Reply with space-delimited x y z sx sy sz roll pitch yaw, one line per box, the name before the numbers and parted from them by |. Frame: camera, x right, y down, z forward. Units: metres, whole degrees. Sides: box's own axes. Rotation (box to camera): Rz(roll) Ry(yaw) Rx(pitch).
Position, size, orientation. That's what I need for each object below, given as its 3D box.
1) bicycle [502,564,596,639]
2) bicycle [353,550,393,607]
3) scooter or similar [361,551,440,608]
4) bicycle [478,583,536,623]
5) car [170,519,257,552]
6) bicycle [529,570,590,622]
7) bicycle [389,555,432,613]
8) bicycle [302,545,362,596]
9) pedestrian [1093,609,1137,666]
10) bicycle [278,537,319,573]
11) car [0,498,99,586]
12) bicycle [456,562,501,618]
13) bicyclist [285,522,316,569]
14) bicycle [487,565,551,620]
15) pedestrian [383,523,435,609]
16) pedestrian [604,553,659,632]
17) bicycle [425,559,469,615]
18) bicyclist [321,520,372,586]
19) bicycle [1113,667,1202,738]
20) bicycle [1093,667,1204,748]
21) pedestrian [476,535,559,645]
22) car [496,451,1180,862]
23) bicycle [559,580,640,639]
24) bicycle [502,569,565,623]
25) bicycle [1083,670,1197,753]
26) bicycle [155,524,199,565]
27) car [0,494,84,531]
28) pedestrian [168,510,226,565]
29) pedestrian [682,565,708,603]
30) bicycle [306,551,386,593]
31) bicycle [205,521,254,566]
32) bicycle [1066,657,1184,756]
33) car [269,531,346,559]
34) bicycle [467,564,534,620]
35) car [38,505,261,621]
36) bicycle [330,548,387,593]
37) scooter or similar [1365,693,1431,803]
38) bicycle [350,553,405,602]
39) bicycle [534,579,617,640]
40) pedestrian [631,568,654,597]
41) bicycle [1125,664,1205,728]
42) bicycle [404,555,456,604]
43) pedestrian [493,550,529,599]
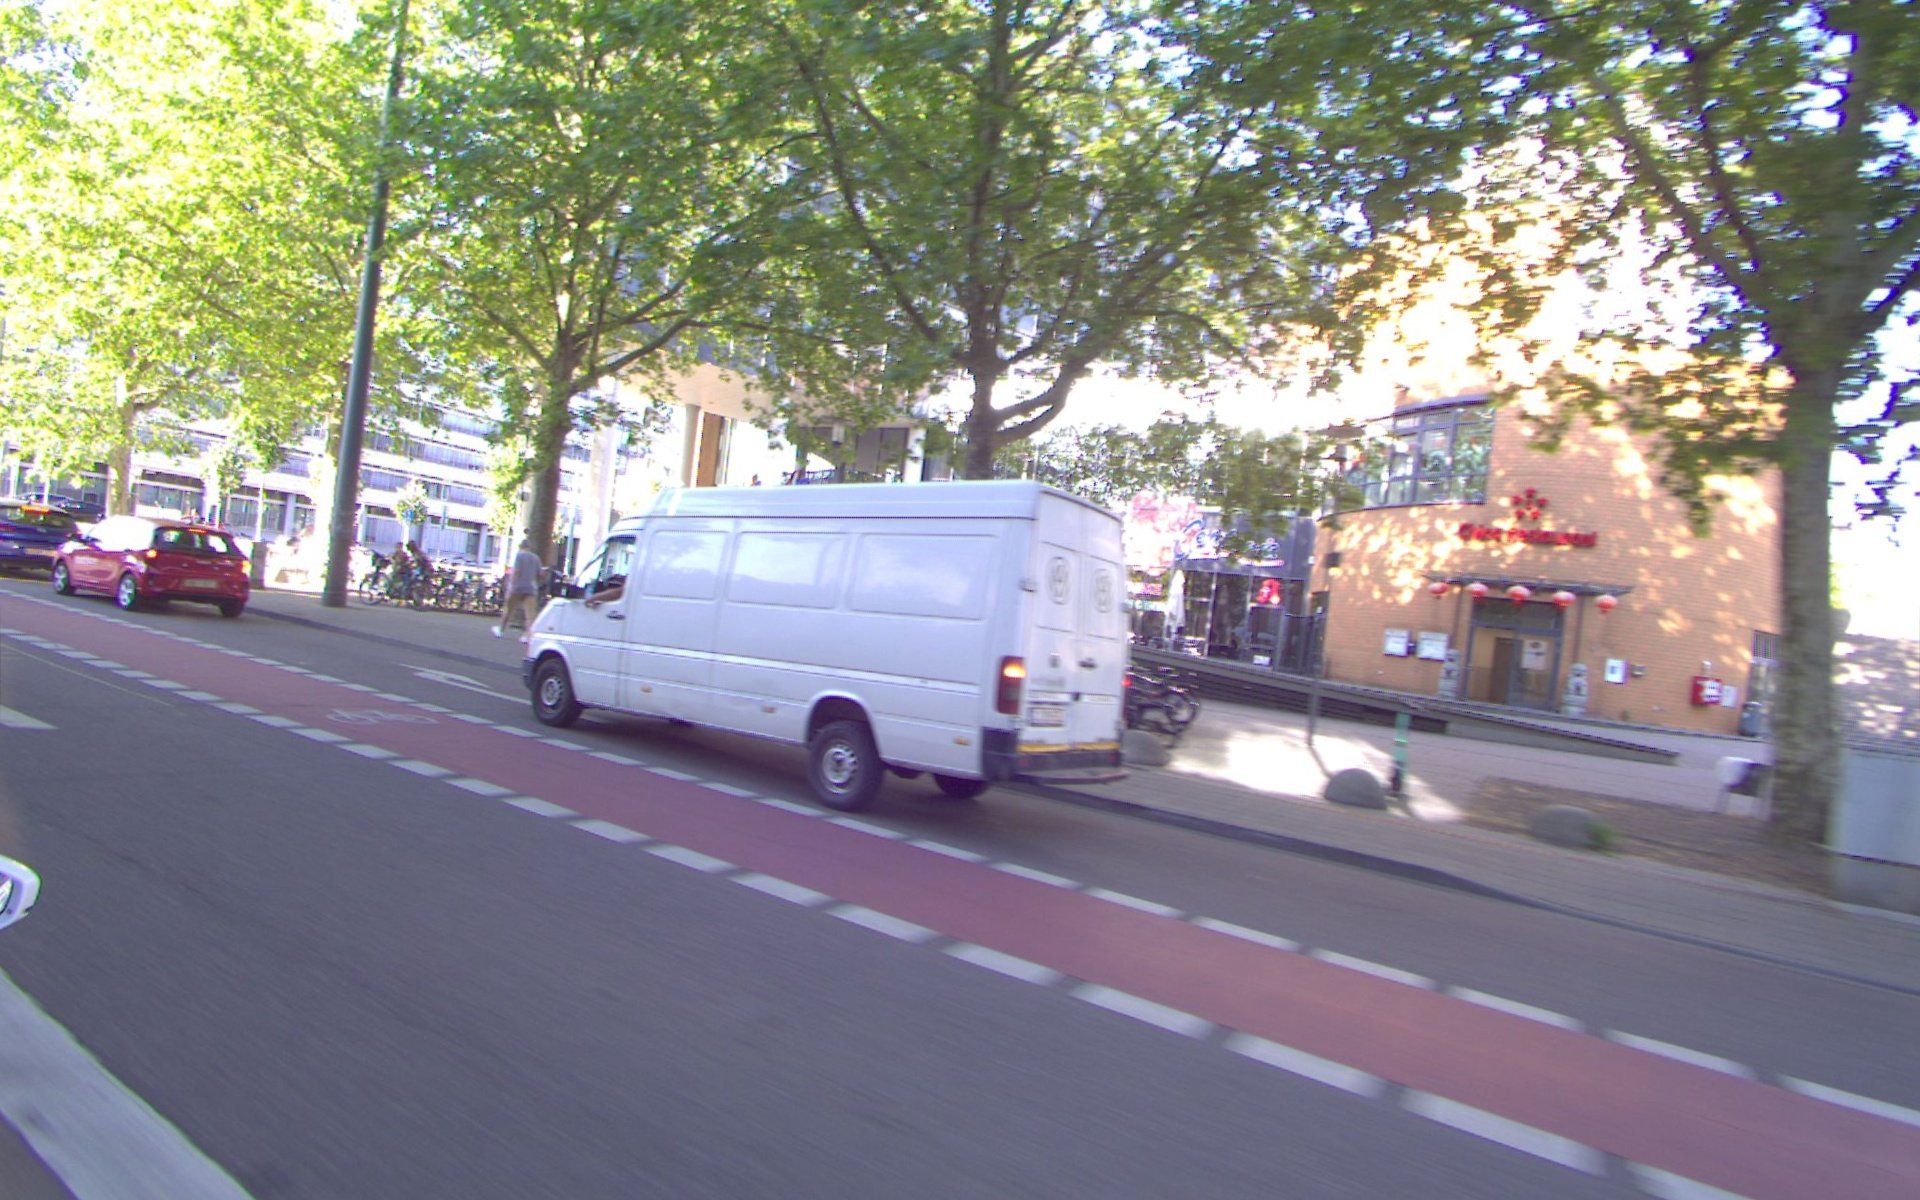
bicycle | -8.171 0.027 19.982 1.844 1.280 0.596 7 1 29
bicycle | -13.132 -0.491 22.469 0.591 1.130 1.810 6 0 -33
scooter or similar | -13.336 -0.475 24.014 0.899 1.154 1.260 5 -4 15
bicycle | -10.259 0.070 22.787 1.101 0.770 0.396 7 0 -34
car | -49.783 -4.288 67.200 1.767 1.579 4.243 7 0 34
bicycle | -10.344 -0.101 25.955 1.449 1.174 0.422 7 1 20
bicycle | -12.284 -0.374 22.472 0.591 1.130 1.932 6 0 -33
bicycle | -15.491 -0.729 24.810 1.547 1.070 0.628 7 0 35
pedestrian | 5.420 1.315 35.188 0.991 1.867 0.843 6 1 -36
bicycle | -24.334 -1.661 36.987 1.750 1.140 0.566 7 0 35
car | -19.210 -1.288 19.931 4.143 1.482 1.768 7 0 28
bicycle | -11.103 -0.244 23.177 0.602 1.130 1.810 6 0 -33
bicyclist | -24.211 -2.005 36.920 0.809 1.636 0.562 7 1 35
bicycle | -10.803 -0.177 24.639 1.449 1.174 0.422 7 1 20
pedestrian | -12.311 -0.752 22.486 0.801 1.808 0.651 6 1 -35
pedestrian | -7.956 -0.176 24.369 0.758 1.779 0.818 7 1 34
bicycle | -11.662 -0.302 22.844 0.591 1.130 1.810 6 0 -33
bicyclist | -17.801 -1.362 29.186 0.836 1.790 0.752 7 1 19
bicycle | 3.196 1.641 16.324 1.259 0.958 0.407 7 1 29
bicycle | 2.758 1.565 14.785 1.452 0.958 0.407 7 1 29
pedestrian | -7.796 -0.169 17.745 0.795 1.808 0.873 7 1 28
car | -1.505 0.204 9.445 6.459 2.755 1.995 6 -2 36
bicycle | -7.600 0.191 21.199 1.626 1.044 0.596 7 0 29
bicycle | -10.642 -0.102 25.096 1.449 1.174 0.422 7 1 20
bicycle | 2.565 1.570 14.364 1.452 0.958 0.407 7 1 29
bicycle | -25.222 -1.784 32.402 1.451 1.159 0.451 7 1 27
car | -55.329 -5.241 60.040 1.767 1.621 4.243 7 0 34
pedestrian | -29.031 -2.356 38.285 1.023 1.843 1.213 6 -2 23
pedestrian | -12.471 -0.749 47.399 0.694 1.661 0.775 7 1 24
bicycle | -17.808 -0.818 29.177 2.143 0.945 0.668 7 0 18
bicycle | -24.553 -1.896 33.785 1.854 1.302 0.451 7 1 27
bicycle | 2.285 1.456 13.964 1.452 1.133 0.407 7 1 29
car | -46.923 -3.927 72.392 1.767 1.409 4.242 7 -1 36
bicycle | -11.043 -0.197 24.162 1.449 1.174 0.479 7 1 20
car | -13.647 -0.628 16.917 3.559 1.481 1.562 7 -1 29
bicycle | -16.151 -0.799 27.000 1.544 1.038 0.461 7 1 26
scooter or similar | 5.400 1.791 12.375 0.405 1.239 1.208 7 0 34
bicycle | -14.878 -0.572 25.673 1.451 1.095 0.421 7 1 27
bicycle | -7.871 0.189 20.581 1.626 1.044 0.596 7 0 29
pedestrian | -16.953 -0.936 53.654 0.763 1.460 0.705 7 1 31
bicycle | 3.622 1.685 17.777 1.257 0.958 0.416 7 1 13
bicycle | -14.234 -0.556 27.006 1.451 1.174 0.421 7 1 30
pedestrian | -18.245 -1.009 40.860 0.851 1.841 0.849 7 -1 1
